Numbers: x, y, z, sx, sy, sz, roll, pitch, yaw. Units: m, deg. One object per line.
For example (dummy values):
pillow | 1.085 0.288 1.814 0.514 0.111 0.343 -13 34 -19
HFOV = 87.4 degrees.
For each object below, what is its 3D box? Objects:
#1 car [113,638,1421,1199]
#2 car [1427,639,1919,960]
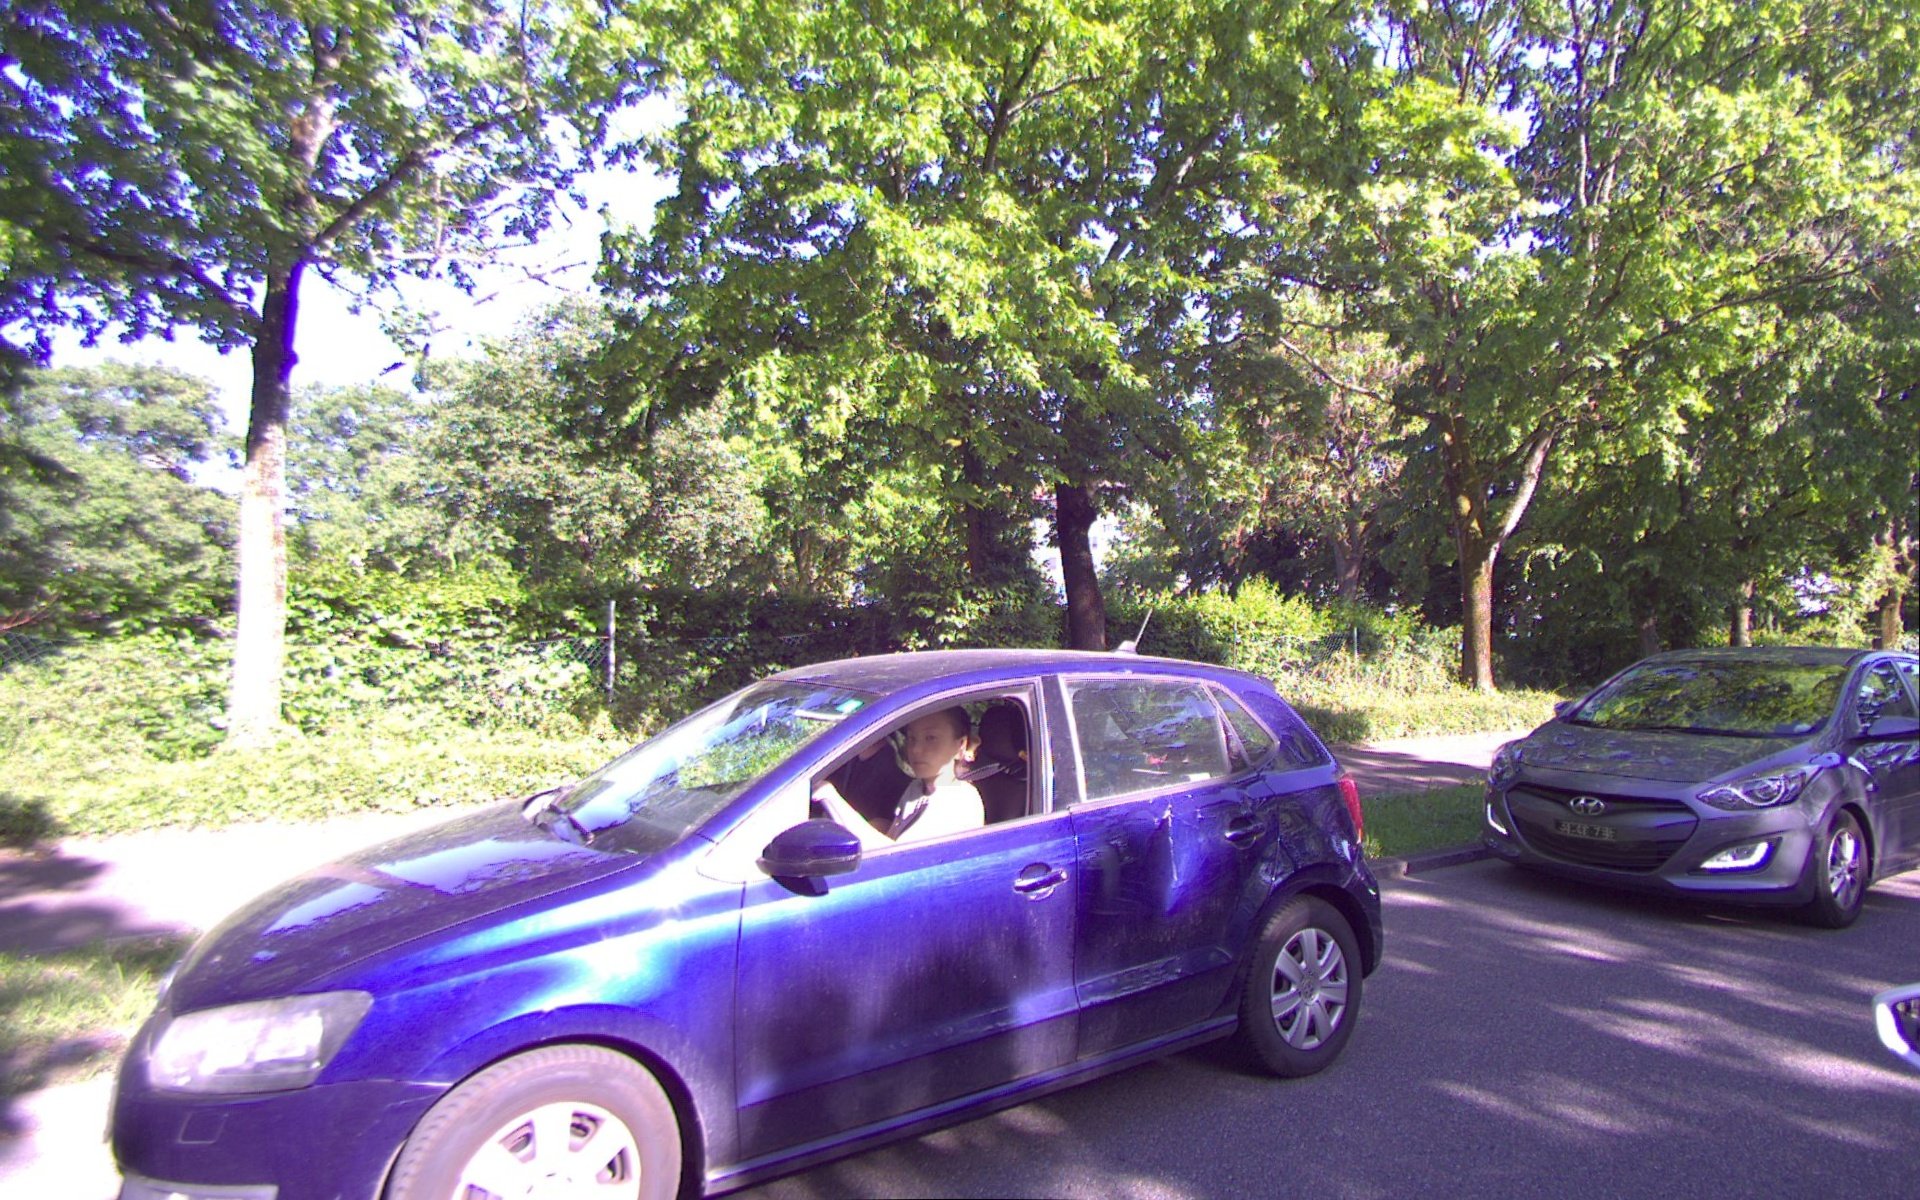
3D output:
car | -0.308 0.862 3.356 3.609 1.445 1.593 1 -2 -31
car | 5.137 1.004 6.531 4.193 1.473 1.747 1 -2 -31
